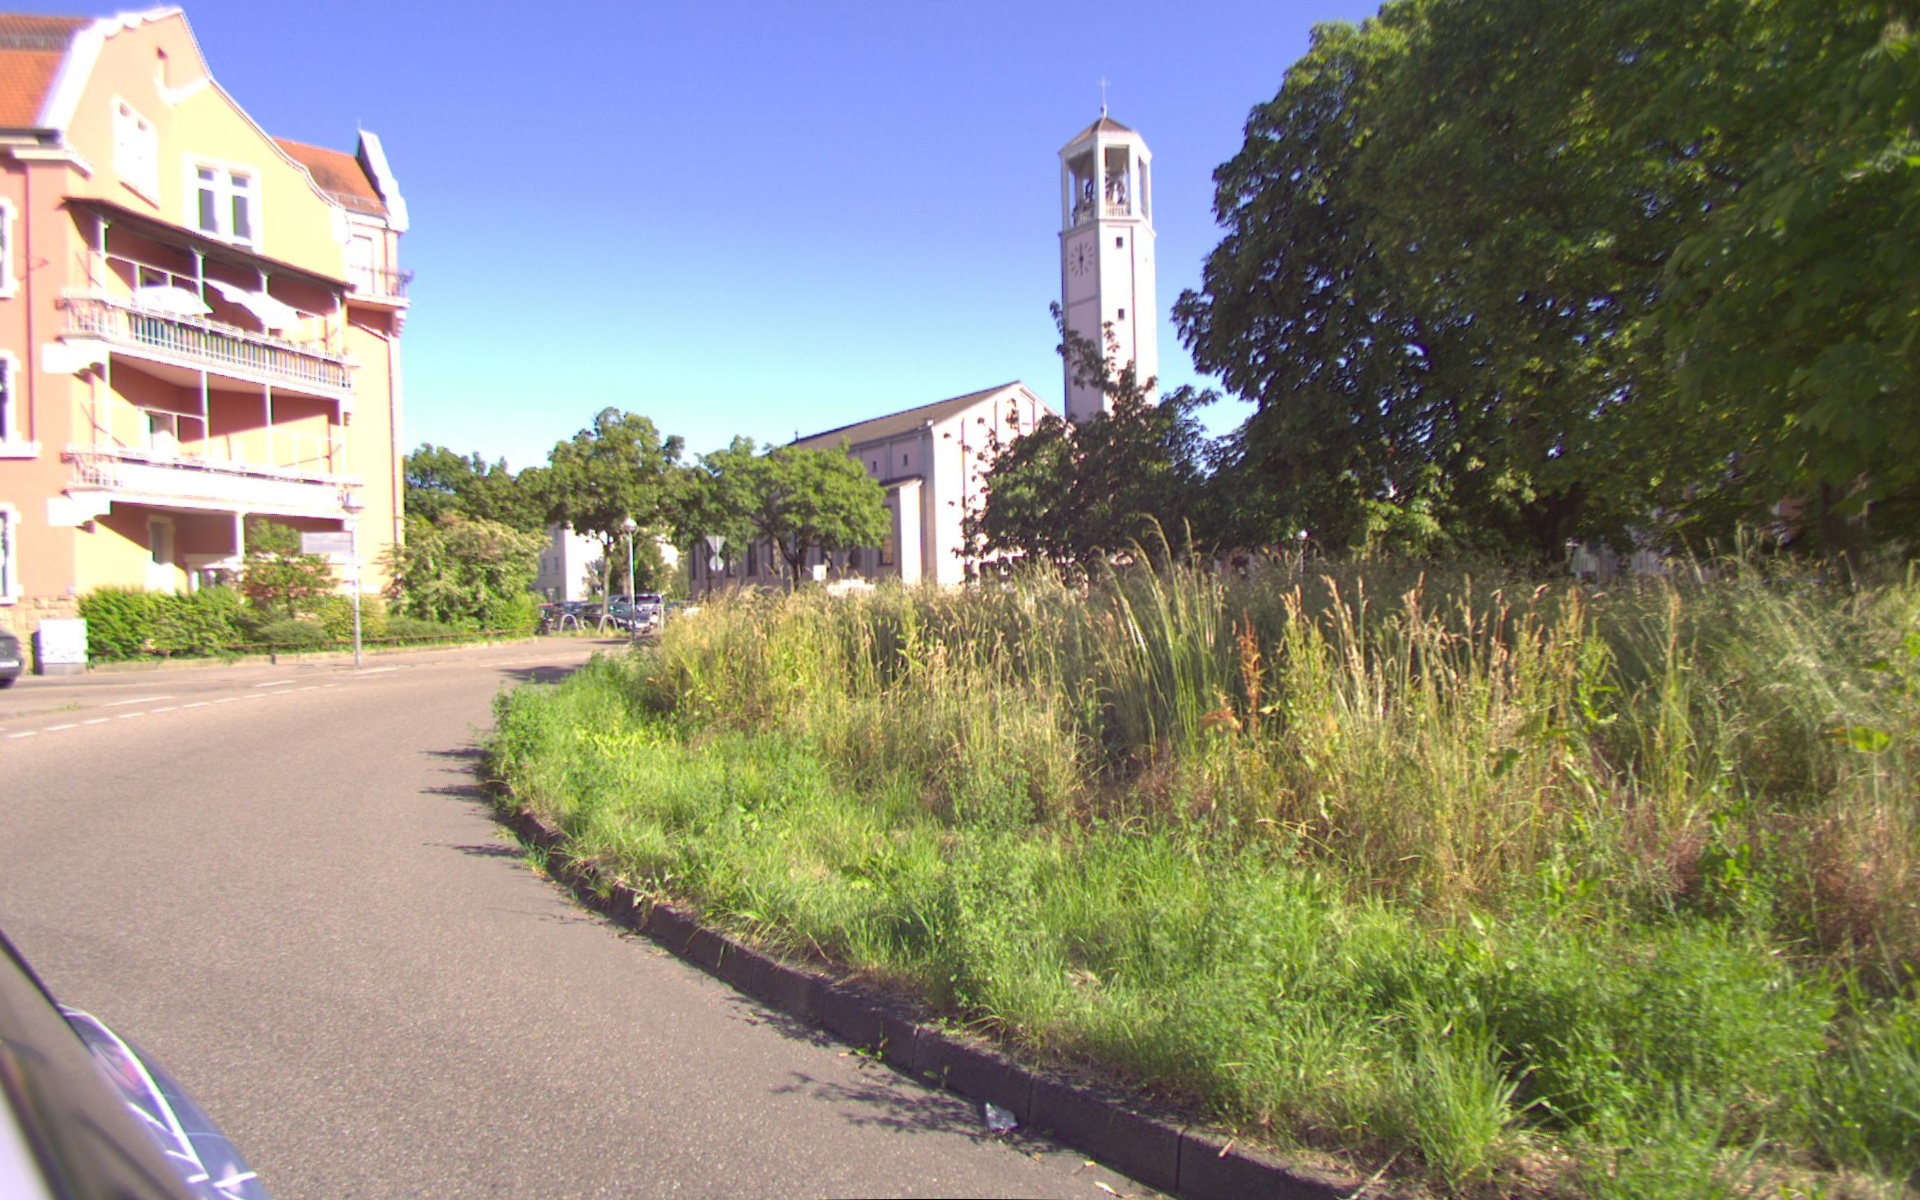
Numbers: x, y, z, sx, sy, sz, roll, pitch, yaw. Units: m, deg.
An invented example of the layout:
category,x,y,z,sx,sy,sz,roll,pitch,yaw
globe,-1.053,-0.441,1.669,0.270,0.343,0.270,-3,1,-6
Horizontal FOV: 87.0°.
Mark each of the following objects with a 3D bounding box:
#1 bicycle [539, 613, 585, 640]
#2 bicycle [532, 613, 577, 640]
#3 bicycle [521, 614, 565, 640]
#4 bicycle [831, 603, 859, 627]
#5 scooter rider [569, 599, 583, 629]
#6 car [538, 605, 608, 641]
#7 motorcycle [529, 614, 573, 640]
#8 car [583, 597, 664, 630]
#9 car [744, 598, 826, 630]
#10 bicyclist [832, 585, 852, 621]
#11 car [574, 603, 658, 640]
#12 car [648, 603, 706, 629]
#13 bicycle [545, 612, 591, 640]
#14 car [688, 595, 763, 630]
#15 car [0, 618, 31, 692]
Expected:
category,x,y,z,sx,sy,sz,roll,pitch,yaw
bicycle,-16.692,1.110,42.441,1.699,1.123,0.547,1,-2,-40
bicycle,-17.232,1.125,43.085,0.499,1.115,1.809,-1,-2,34
bicycle,-18.149,1.189,44.080,0.501,1.115,1.702,-1,-2,43
bicycle,-5.597,0.740,49.236,0.635,1.116,1.721,-2,0,-34
scooter rider,-23.899,0.857,62.976,0.615,1.846,0.633,-1,0,-34
car,-19.176,1.138,50.090,1.782,1.573,4.406,-4,2,-41
motorcycle,-17.652,1.171,43.738,0.501,1.115,1.702,-1,-2,43
car,-21.825,0.865,65.715,1.811,2.016,4.709,-2,-1,45
car,-8.518,0.690,49.072,1.783,1.426,4.341,0,-1,-45
bicyclist,-5.766,0.127,49.449,0.635,1.727,0.725,-2,0,-34
car,-15.536,0.981,45.598,4.340,1.494,1.784,-2,2,45
car,-16.714,0.961,59.671,1.780,1.485,4.348,0,-1,-37
bicycle,-16.159,1.075,41.755,1.699,1.123,0.547,1,-2,-40
car,-12.255,0.666,52.801,1.783,1.741,4.341,0,-1,-45
car,-20.672,1.131,19.674,3.487,1.457,1.692,-2,-2,-12
